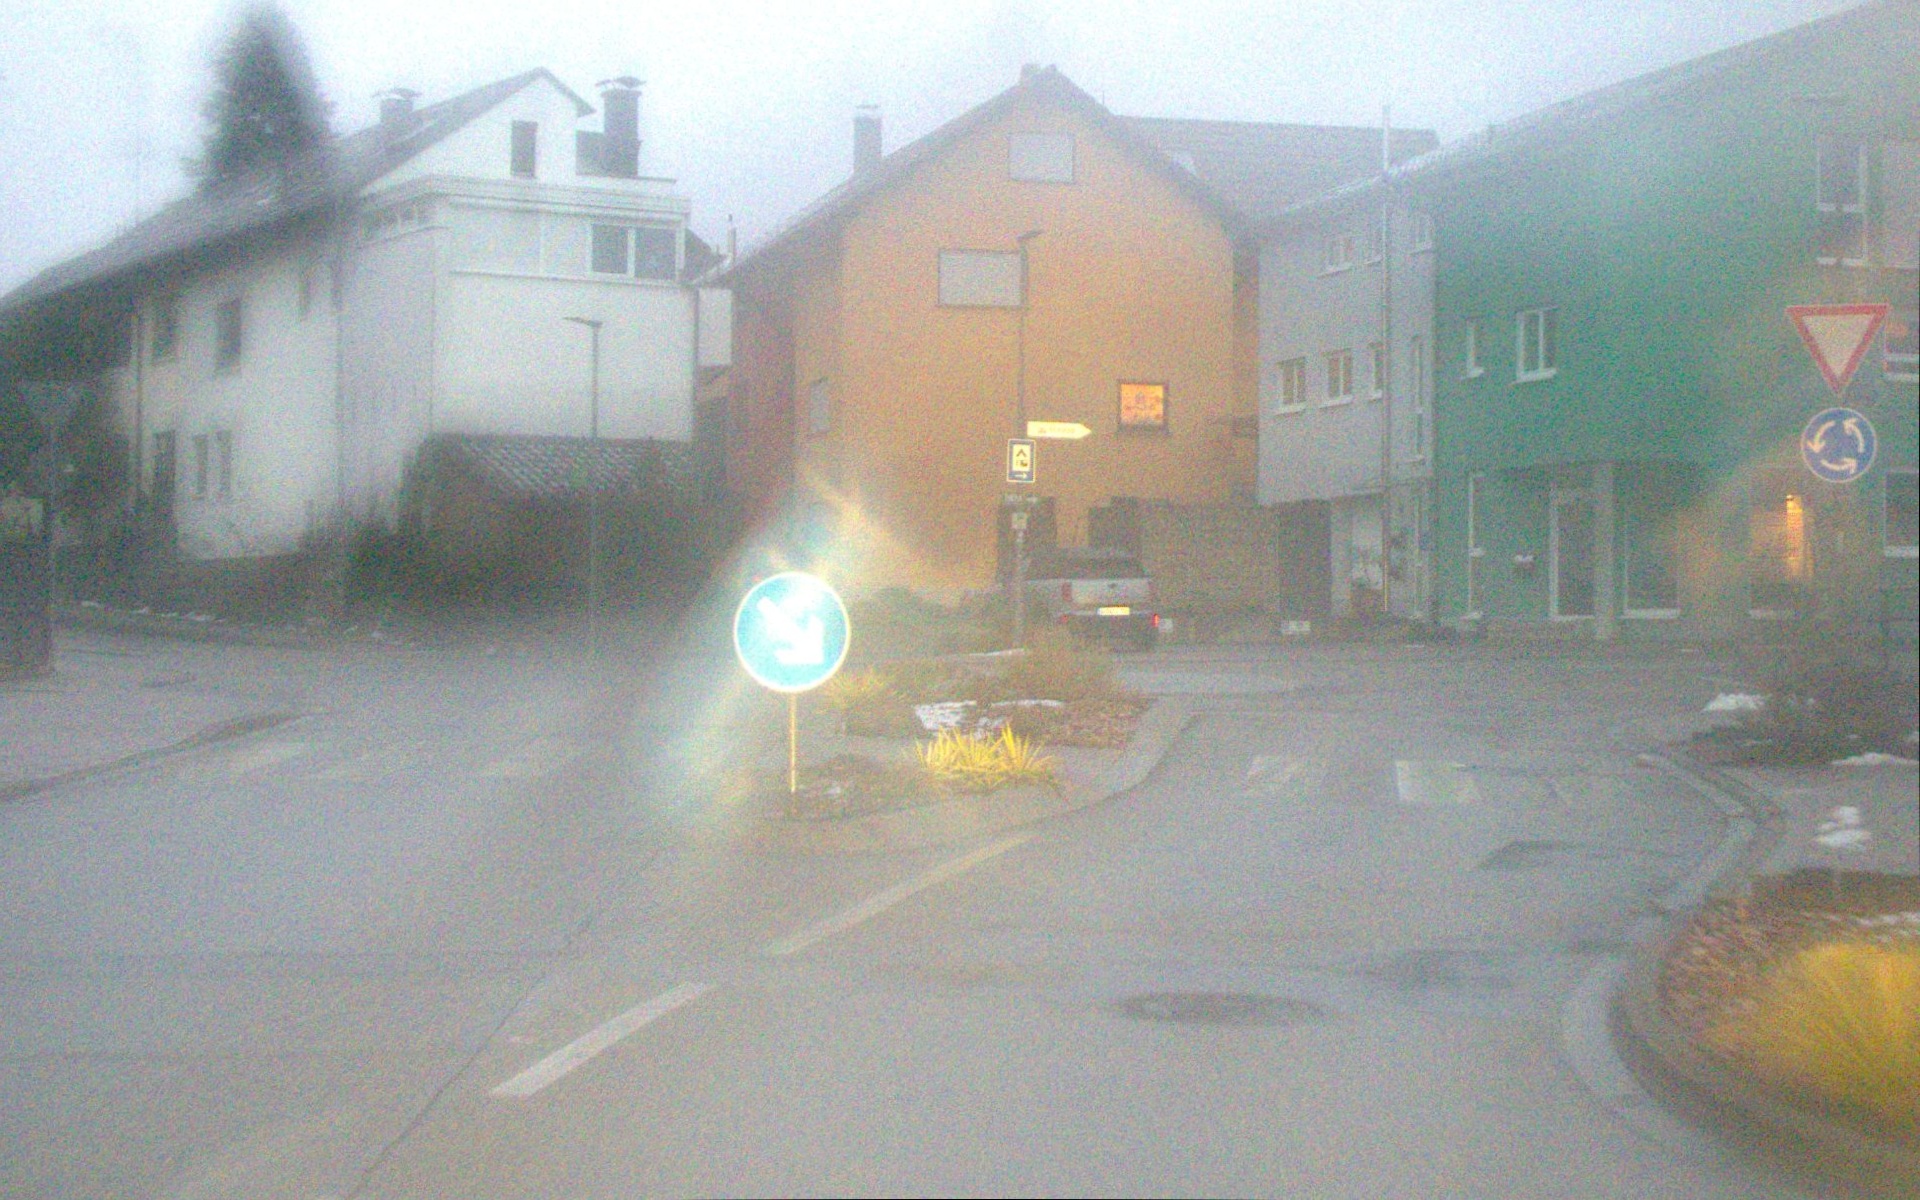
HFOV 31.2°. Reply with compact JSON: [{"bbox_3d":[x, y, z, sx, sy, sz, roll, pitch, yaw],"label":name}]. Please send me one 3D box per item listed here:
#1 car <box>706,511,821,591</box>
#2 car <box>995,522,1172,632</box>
[{"bbox_3d":[-4.221,-1.069,73.453,1.993,1.638,4.001,0,2,-10],"label":"car"},{"bbox_3d":[1.904,-0.392,54.222,1.993,1.638,4.001,0,2,-10],"label":"car"}]
